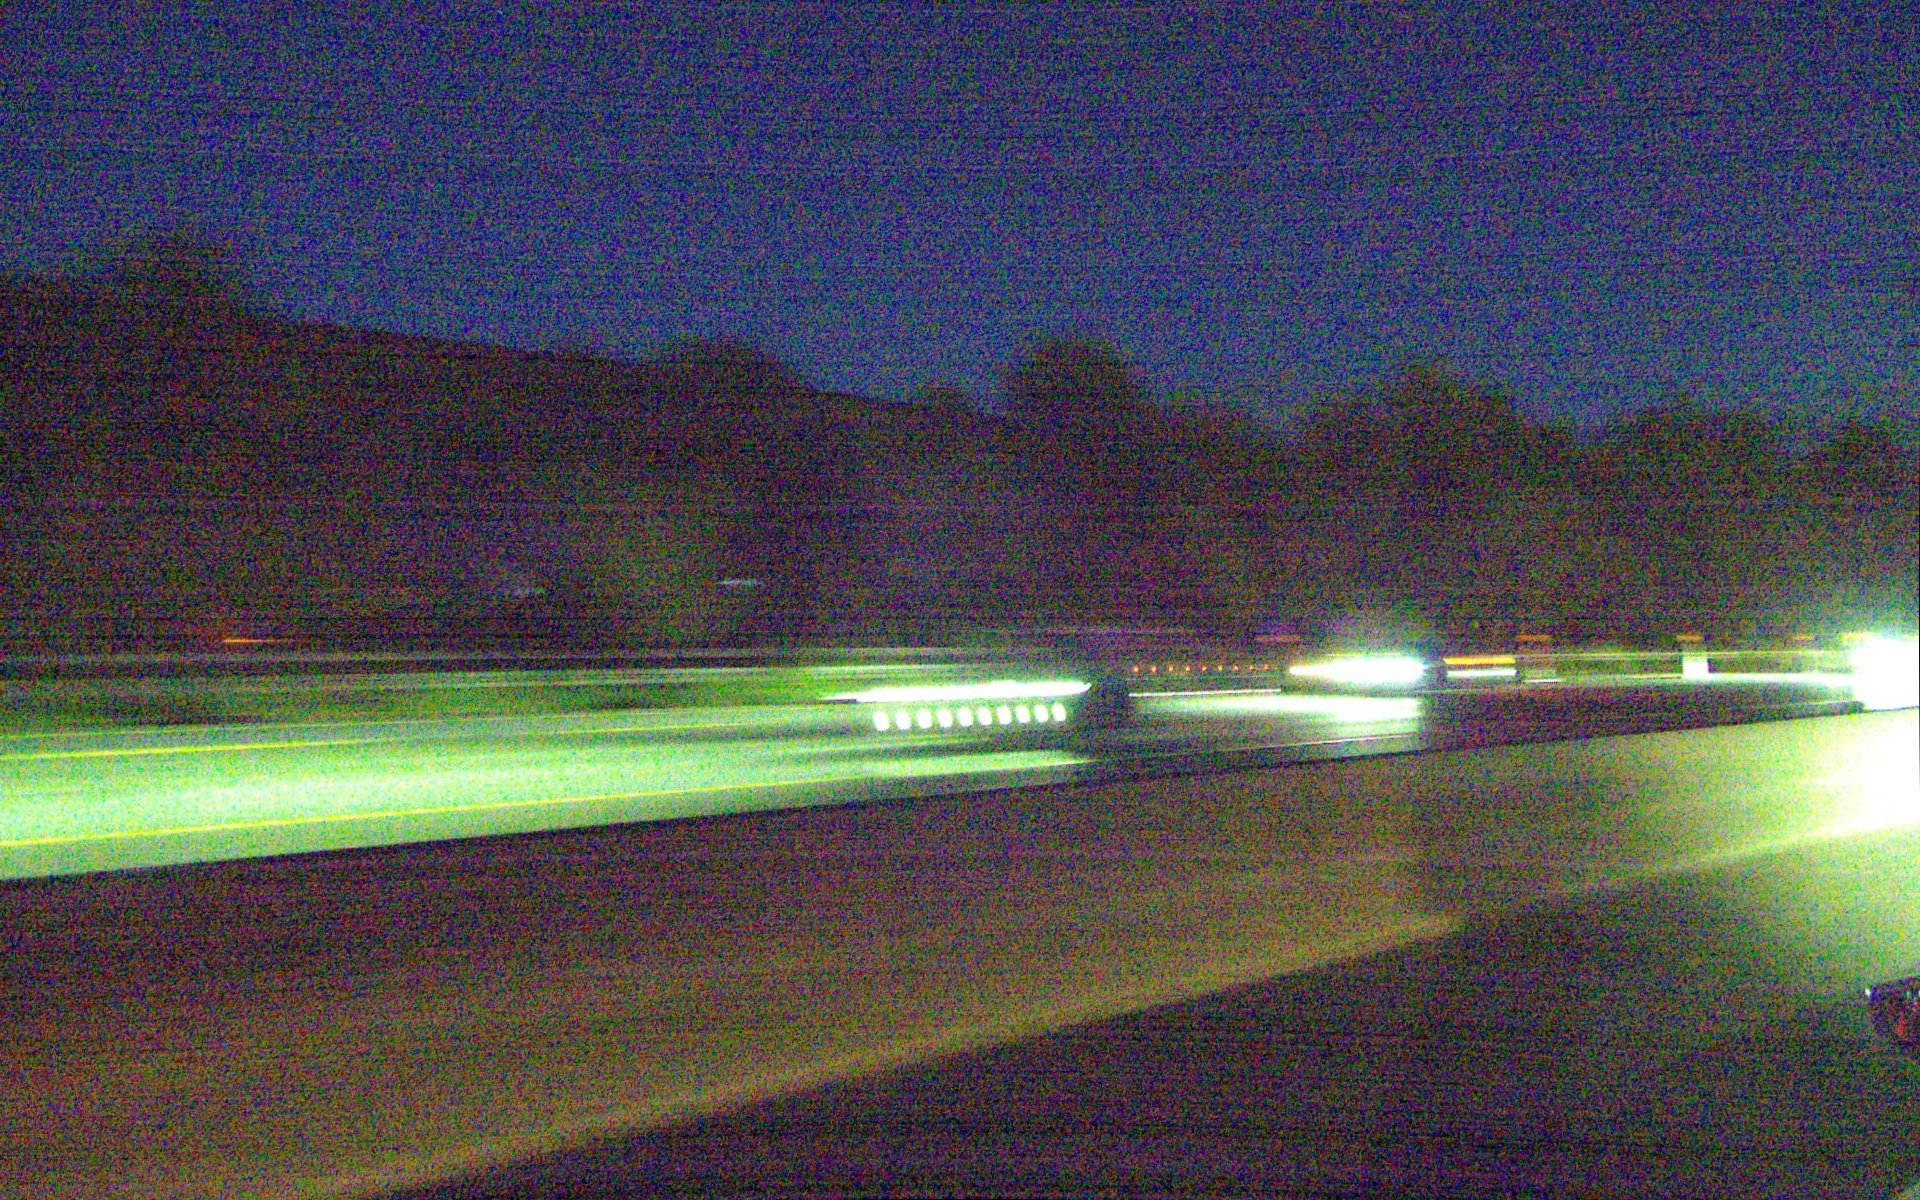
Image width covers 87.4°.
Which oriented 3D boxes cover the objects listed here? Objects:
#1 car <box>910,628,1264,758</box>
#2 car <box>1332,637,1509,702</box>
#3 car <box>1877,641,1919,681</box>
[{"bbox_3d":[1.799,1.169,13.620,4.707,1.498,1.742,2,-3,-30],"label":"car"},{"bbox_3d":[11.485,1.683,25.002,4.427,1.498,1.743,2,-3,-29],"label":"car"},{"bbox_3d":[37.917,2.370,39.235,4.669,1.498,1.743,2,-3,-30],"label":"car"}]
